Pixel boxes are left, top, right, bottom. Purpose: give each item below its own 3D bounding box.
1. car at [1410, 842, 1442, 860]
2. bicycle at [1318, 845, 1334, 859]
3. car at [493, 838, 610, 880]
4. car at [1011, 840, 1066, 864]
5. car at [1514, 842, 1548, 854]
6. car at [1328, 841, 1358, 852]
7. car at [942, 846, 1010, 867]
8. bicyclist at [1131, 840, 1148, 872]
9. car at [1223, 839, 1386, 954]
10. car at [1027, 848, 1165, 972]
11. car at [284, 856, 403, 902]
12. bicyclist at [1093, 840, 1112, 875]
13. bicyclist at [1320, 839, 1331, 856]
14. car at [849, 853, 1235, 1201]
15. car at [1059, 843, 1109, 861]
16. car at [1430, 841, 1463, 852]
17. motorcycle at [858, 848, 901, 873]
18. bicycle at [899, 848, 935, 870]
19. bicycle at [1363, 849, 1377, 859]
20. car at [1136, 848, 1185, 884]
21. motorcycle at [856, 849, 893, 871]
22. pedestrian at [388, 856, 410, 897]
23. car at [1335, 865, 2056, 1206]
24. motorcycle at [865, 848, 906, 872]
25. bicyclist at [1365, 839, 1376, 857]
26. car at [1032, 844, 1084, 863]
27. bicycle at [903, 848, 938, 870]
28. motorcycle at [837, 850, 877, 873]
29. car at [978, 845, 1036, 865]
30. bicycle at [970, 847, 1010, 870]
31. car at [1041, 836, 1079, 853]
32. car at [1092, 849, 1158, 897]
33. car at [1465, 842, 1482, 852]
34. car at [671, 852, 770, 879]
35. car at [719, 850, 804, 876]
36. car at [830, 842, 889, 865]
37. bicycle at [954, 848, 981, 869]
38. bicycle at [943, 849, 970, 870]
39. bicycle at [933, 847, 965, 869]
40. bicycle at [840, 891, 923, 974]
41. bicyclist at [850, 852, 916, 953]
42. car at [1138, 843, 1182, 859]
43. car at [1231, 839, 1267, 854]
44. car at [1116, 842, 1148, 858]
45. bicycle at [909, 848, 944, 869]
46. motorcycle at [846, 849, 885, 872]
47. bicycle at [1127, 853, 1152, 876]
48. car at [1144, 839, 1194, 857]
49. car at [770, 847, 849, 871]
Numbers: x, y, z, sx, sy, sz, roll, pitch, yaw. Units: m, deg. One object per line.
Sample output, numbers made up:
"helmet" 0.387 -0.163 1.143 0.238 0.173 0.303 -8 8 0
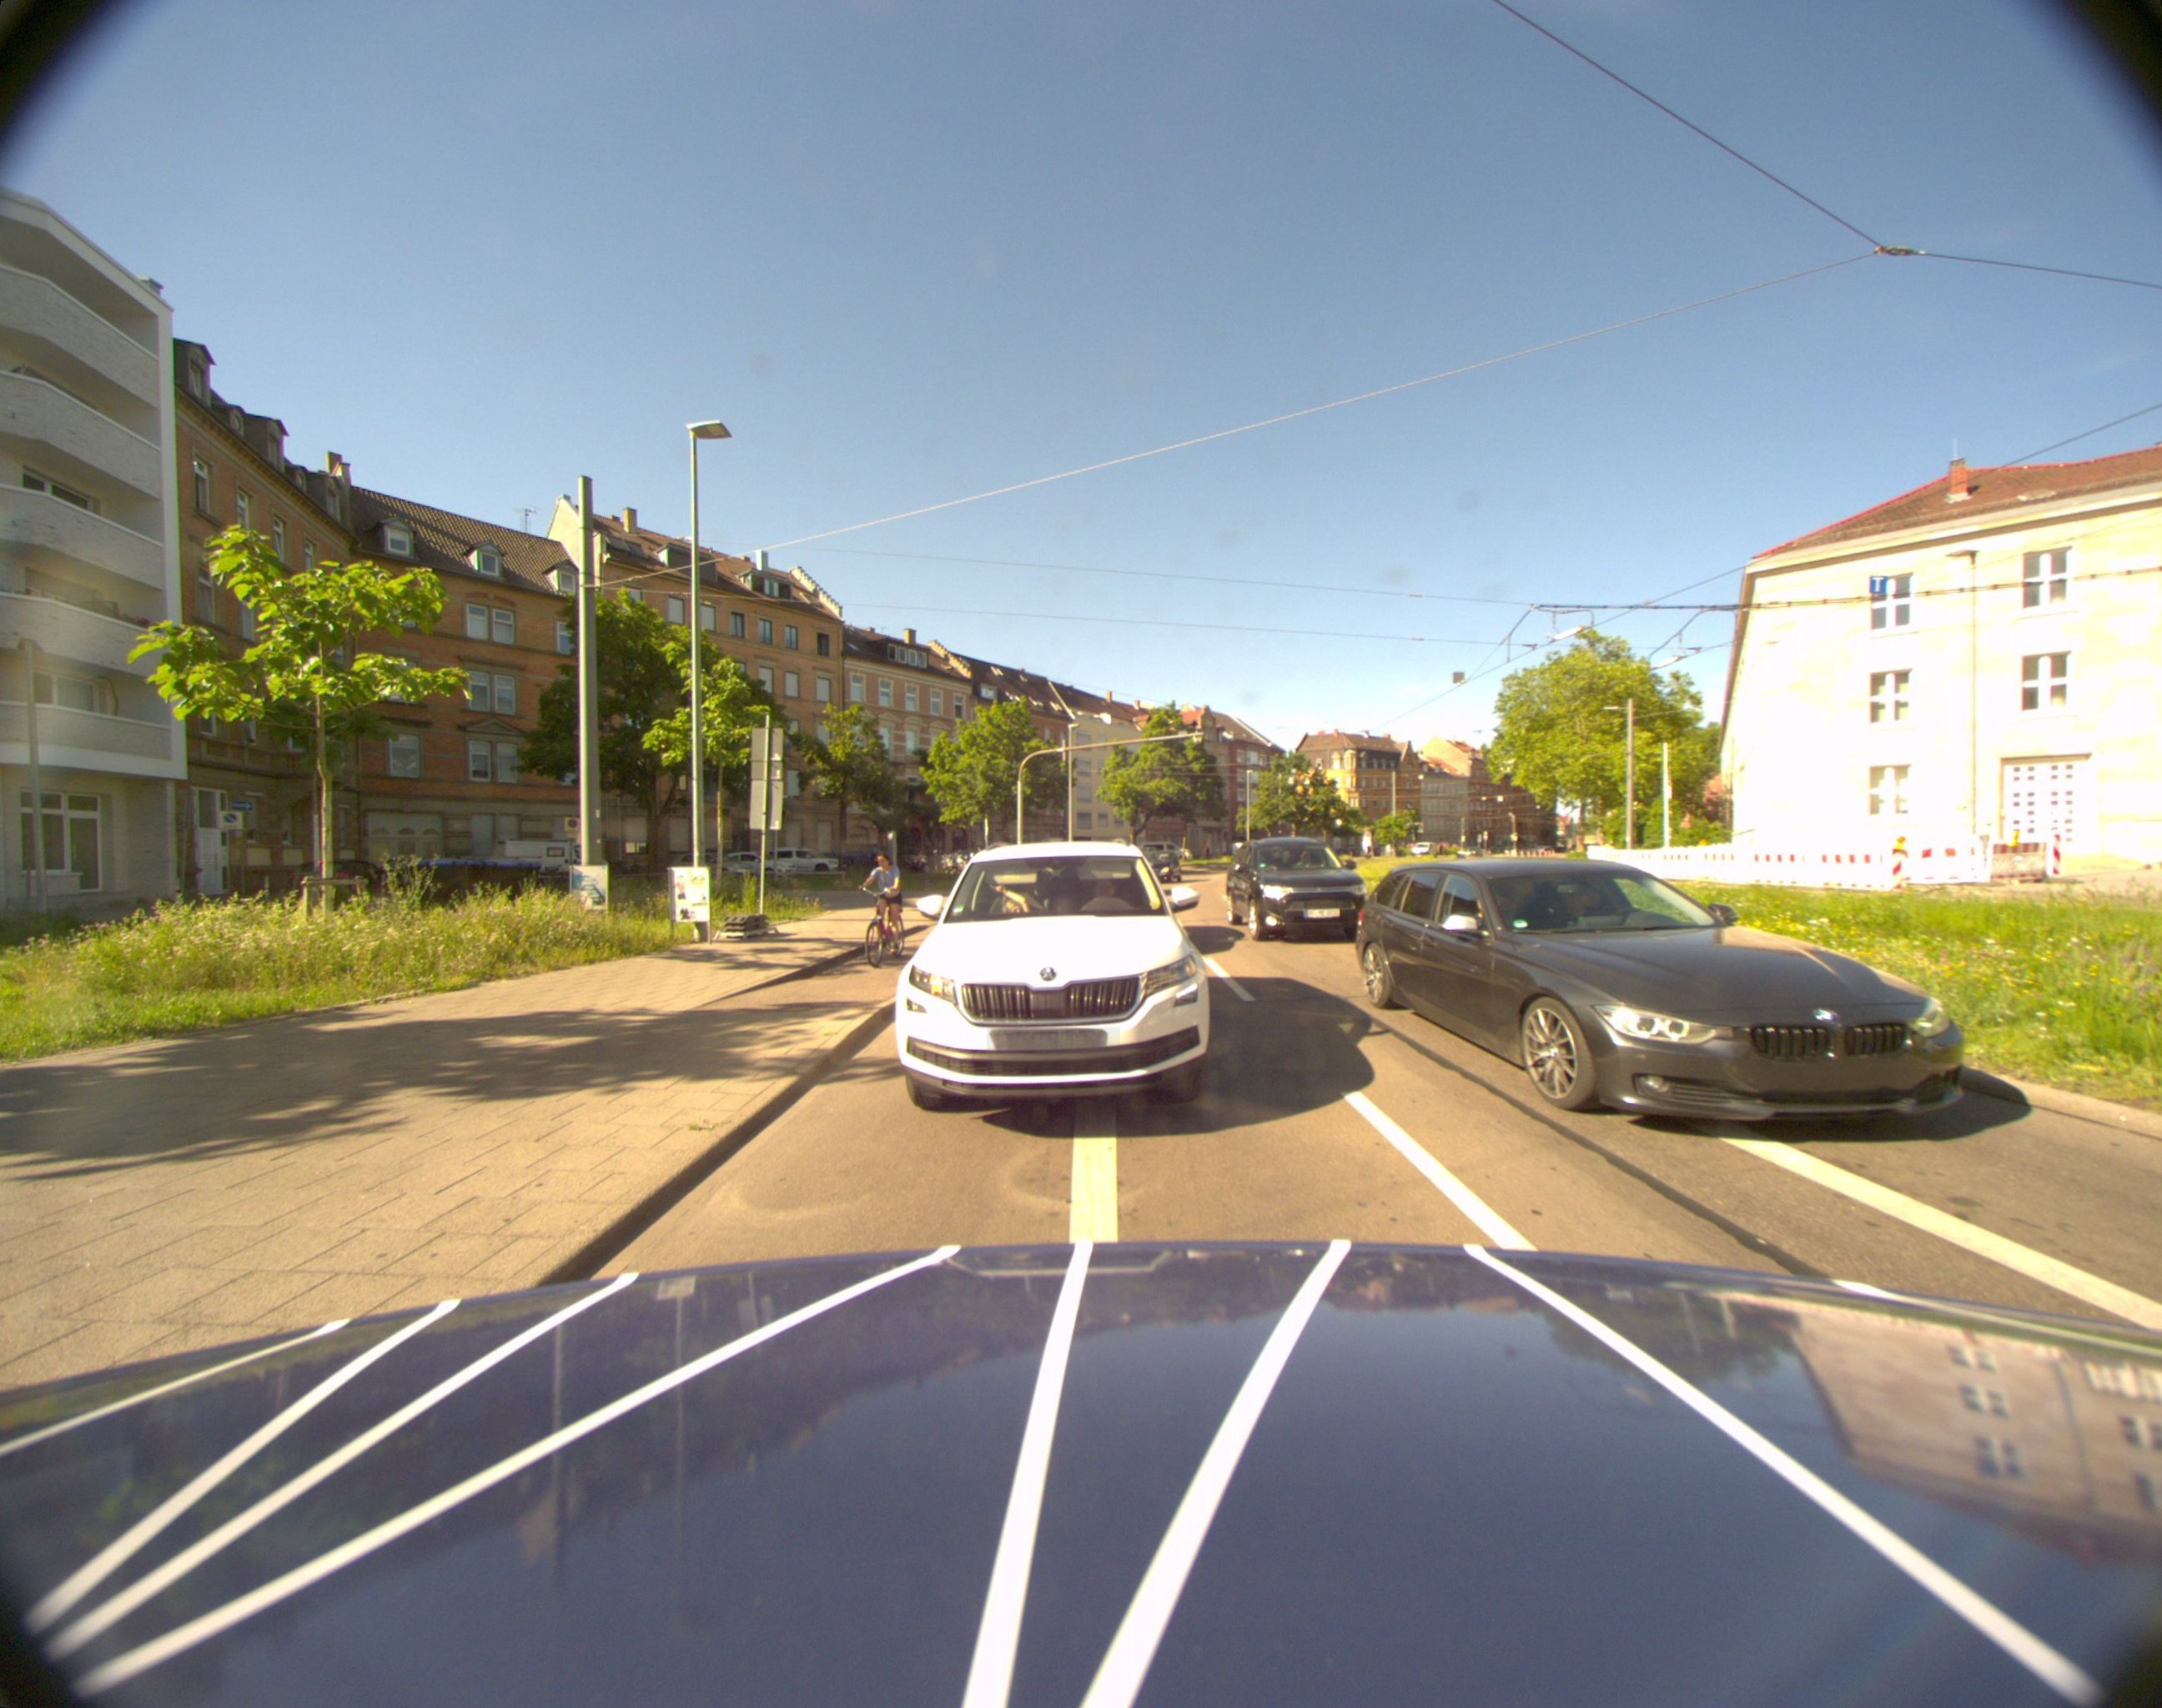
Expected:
"car" 42.605 -0.407 93.760 1.977 2.074 4.723 1 2 45
"bicycle" 24.728 -0.226 76.692 0.735 1.353 2.079 0 1 44
"car" -27.118 0.214 39.010 2.047 2.026 4.510 1 2 41
"car" -3.108 -0.141 56.104 3.825 1.698 1.682 0 1 3
"car" 63.811 -0.878 107.774 4.058 1.647 1.770 1 2 34
"car" 43.258 -1.255 125.657 4.336 1.871 1.844 1 2 35
"car" -7.043 0.171 51.296 4.322 1.398 1.682 0 1 3
"bicyclist" 3.451 0.131 44.761 0.808 1.855 0.750 0 2 24
"car" 3.697 0.622 13.399 1.841 1.636 4.399 -2 0 5
"car" 0.235 0.758 12.609 1.842 1.636 4.397 -2 0 1
"car" -26.168 0.826 27.148 1.835 1.419 4.378 -1 1 -27
"bicyclist" 1.085 0.165 38.022 0.715 1.715 1.095 1 1 15
"bicyclist" 24.672 -0.654 76.617 0.734 1.685 0.973 0 1 44
"car" -0.227 0.851 5.950 1.842 1.636 4.397 -2 0 -1
"car" 0.260 -0.164 61.165 3.823 1.398 1.600 0 1 6
"car" 54.620 -1.142 113.633 1.770 1.647 4.059 -1 2 -35
"motorcycle" -11.179 0.371 42.207 2.200 1.322 0.663 -2 1 13
"bicycle" -9.743 0.303 45.071 2.198 1.260 0.664 -2 1 30
"bicycle" 33.228 0.010 87.359 0.762 1.138 2.287 0 1 43
"car" 3.972 0.531 37.438 1.837 1.637 4.152 0 1 14
"motorcycle" -12.603 0.398 46.405 2.199 1.260 0.664 -2 1 24
"pedestrian" -25.101 0.823 27.973 0.509 1.448 0.481 -3 2 -38
"car" 3.479 0.846 5.595 1.741 1.359 4.426 -2 0 1
"motorcycle" -11.149 0.354 43.294 2.200 1.315 0.664 -2 1 18
"bicyclist" 33.269 -0.711 87.334 0.847 2.002 1.199 0 1 43
"car" -1.776 -0.059 58.713 3.823 1.398 1.600 0 1 6
"bicycle" -9.707 0.291 46.009 2.198 1.260 0.664 -2 1 32
"motorcycle" -13.289 0.435 45.020 2.314 1.270 0.664 -2 1 24
"car" -5.227 0.083 53.965 3.822 1.398 1.683 0 1 9
"bicycle" -5.476 0.263 45.740 2.207 1.260 0.662 -3 1 -25
"car" -1.940 -0.947 71.666 1.547 1.578 3.607 1 2 41
"car" 1.663 0.604 27.047 1.838 1.543 4.151 0 1 10
"car" 57.080 -1.001 110.455 1.836 1.464 4.722 1 1 31
"car" -17.500 0.530 36.907 4.156 1.244 1.683 0 1 13
"car" -16.407 0.437 39.106 3.696 1.244 1.683 0 1 13
"car" -15.611 -0.060 53.671 1.547 1.578 3.709 1 2 41
"bicycle" -7.123 0.304 47.754 0.664 1.260 2.199 -3 1 -36
"bicycle" -7.686 0.337 46.760 0.664 1.260 2.199 -3 1 -36
"bicycle" -7.729 0.236 44.518 0.664 1.260 2.198 -3 1 -45
"bicycle" -2.942 1.131 11.393 0.668 1.066 1.820 0 0 3
"bicyclist" -2.932 0.700 11.321 0.668 1.428 0.940 -1 1 3
"car" 7.125 -0.254 68.180 3.823 1.372 1.600 0 1 9
"car" 18.693 -0.827 84.660 3.823 1.581 1.600 0 1 6
"car" 5.468 -0.428 80.728 1.547 1.578 3.607 1 2 41
"bicycle" -9.510 0.275 46.712 2.198 1.260 0.664 -2 1 32
"motorcycle" -12.941 0.411 45.625 2.314 1.276 0.664 -2 1 24
"bicycle" 3.458 0.591 44.830 0.757 1.293 2.158 0 2 26
"car" 8.197 -0.594 70.610 4.578 1.658 1.600 0 1 7
"car" -14.681 0.252 41.195 3.700 1.244 1.540 0 1 2
